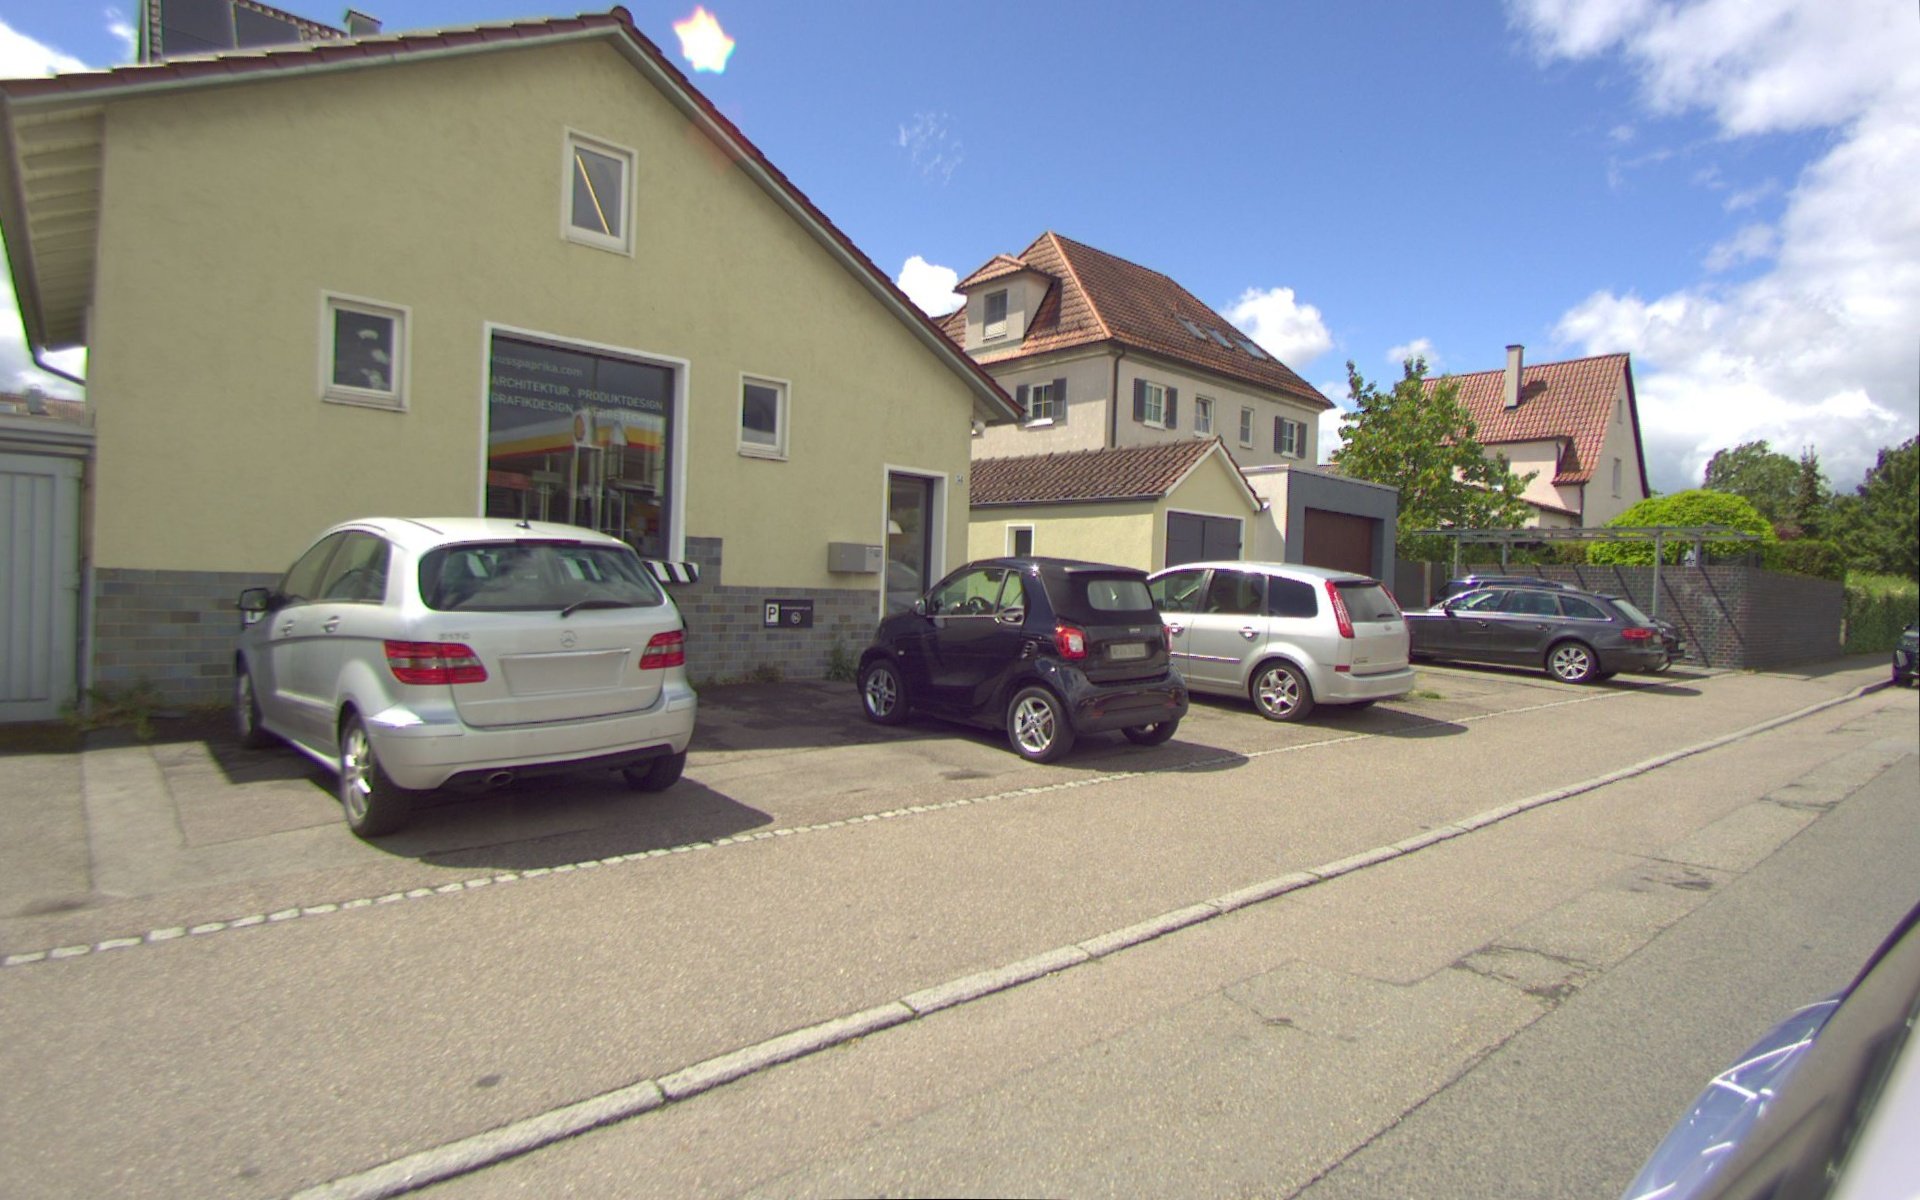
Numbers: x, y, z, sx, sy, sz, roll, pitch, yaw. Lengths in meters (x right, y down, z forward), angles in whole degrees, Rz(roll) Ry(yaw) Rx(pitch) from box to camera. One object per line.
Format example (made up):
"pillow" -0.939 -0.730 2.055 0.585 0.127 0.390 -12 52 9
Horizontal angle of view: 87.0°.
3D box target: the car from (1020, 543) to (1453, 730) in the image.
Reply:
"car" 2.984 0.251 11.689 1.941 1.543 4.415 0 5 -43

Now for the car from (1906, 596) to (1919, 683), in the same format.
"car" 19.407 0.714 19.099 4.240 1.577 1.788 0 1 -40

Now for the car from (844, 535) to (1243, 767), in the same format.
"car" 0.647 0.295 8.900 1.941 1.543 2.893 0 5 -43

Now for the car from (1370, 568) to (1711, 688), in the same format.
"car" 9.333 0.336 16.553 1.941 1.424 4.415 0 5 -43

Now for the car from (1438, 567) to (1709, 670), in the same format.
"car" 11.505 0.266 19.158 1.823 1.634 4.009 0 3 -43

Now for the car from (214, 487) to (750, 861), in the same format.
"car" -3.427 0.148 6.706 1.941 1.627 4.415 0 5 -43
